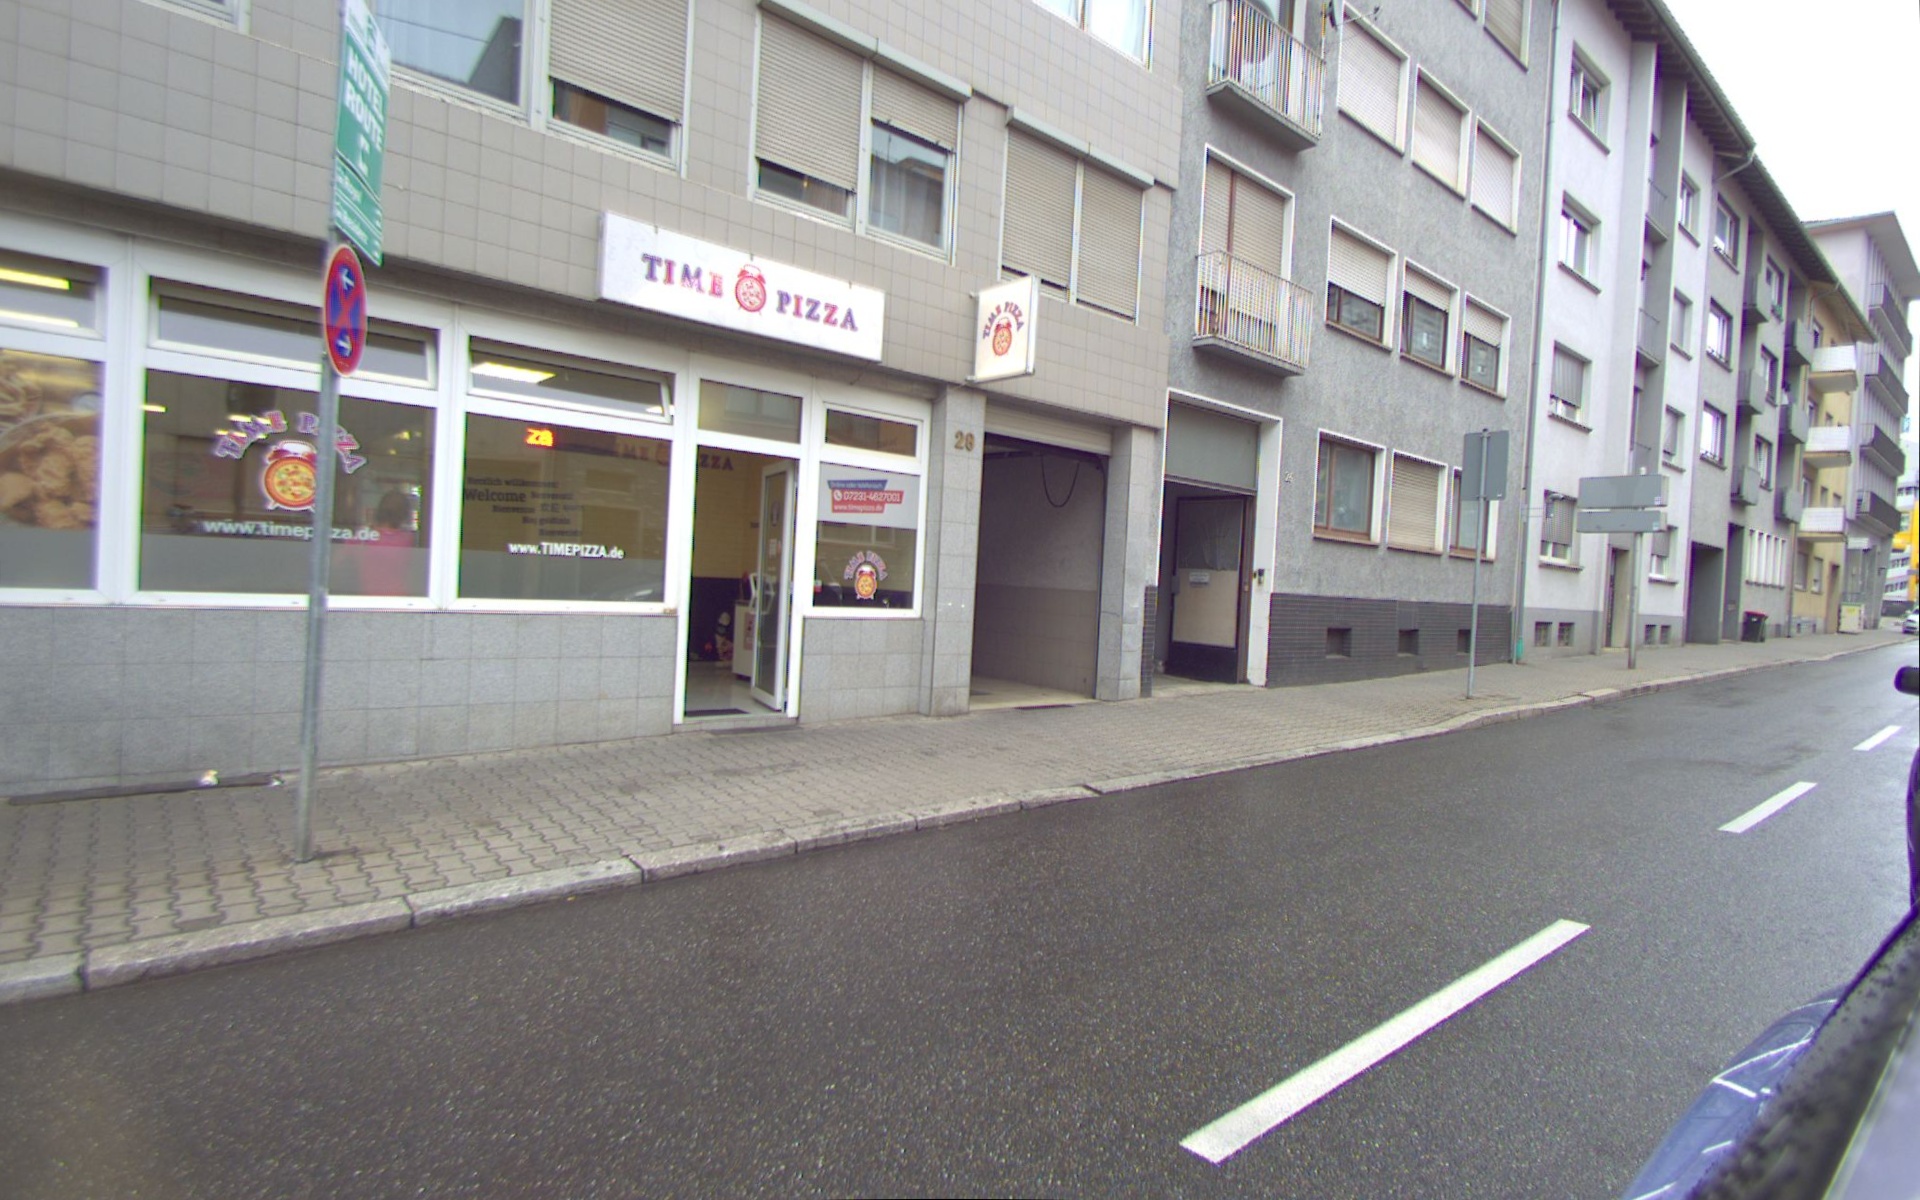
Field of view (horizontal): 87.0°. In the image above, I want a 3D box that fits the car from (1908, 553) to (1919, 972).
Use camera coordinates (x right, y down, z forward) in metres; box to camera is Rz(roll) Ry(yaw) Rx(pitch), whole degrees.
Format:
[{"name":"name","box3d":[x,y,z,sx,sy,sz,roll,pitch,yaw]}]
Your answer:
[{"name":"car","box3d":[6.086,0.660,4.947,4.144,1.743,1.697,-1,0,-41]}]
